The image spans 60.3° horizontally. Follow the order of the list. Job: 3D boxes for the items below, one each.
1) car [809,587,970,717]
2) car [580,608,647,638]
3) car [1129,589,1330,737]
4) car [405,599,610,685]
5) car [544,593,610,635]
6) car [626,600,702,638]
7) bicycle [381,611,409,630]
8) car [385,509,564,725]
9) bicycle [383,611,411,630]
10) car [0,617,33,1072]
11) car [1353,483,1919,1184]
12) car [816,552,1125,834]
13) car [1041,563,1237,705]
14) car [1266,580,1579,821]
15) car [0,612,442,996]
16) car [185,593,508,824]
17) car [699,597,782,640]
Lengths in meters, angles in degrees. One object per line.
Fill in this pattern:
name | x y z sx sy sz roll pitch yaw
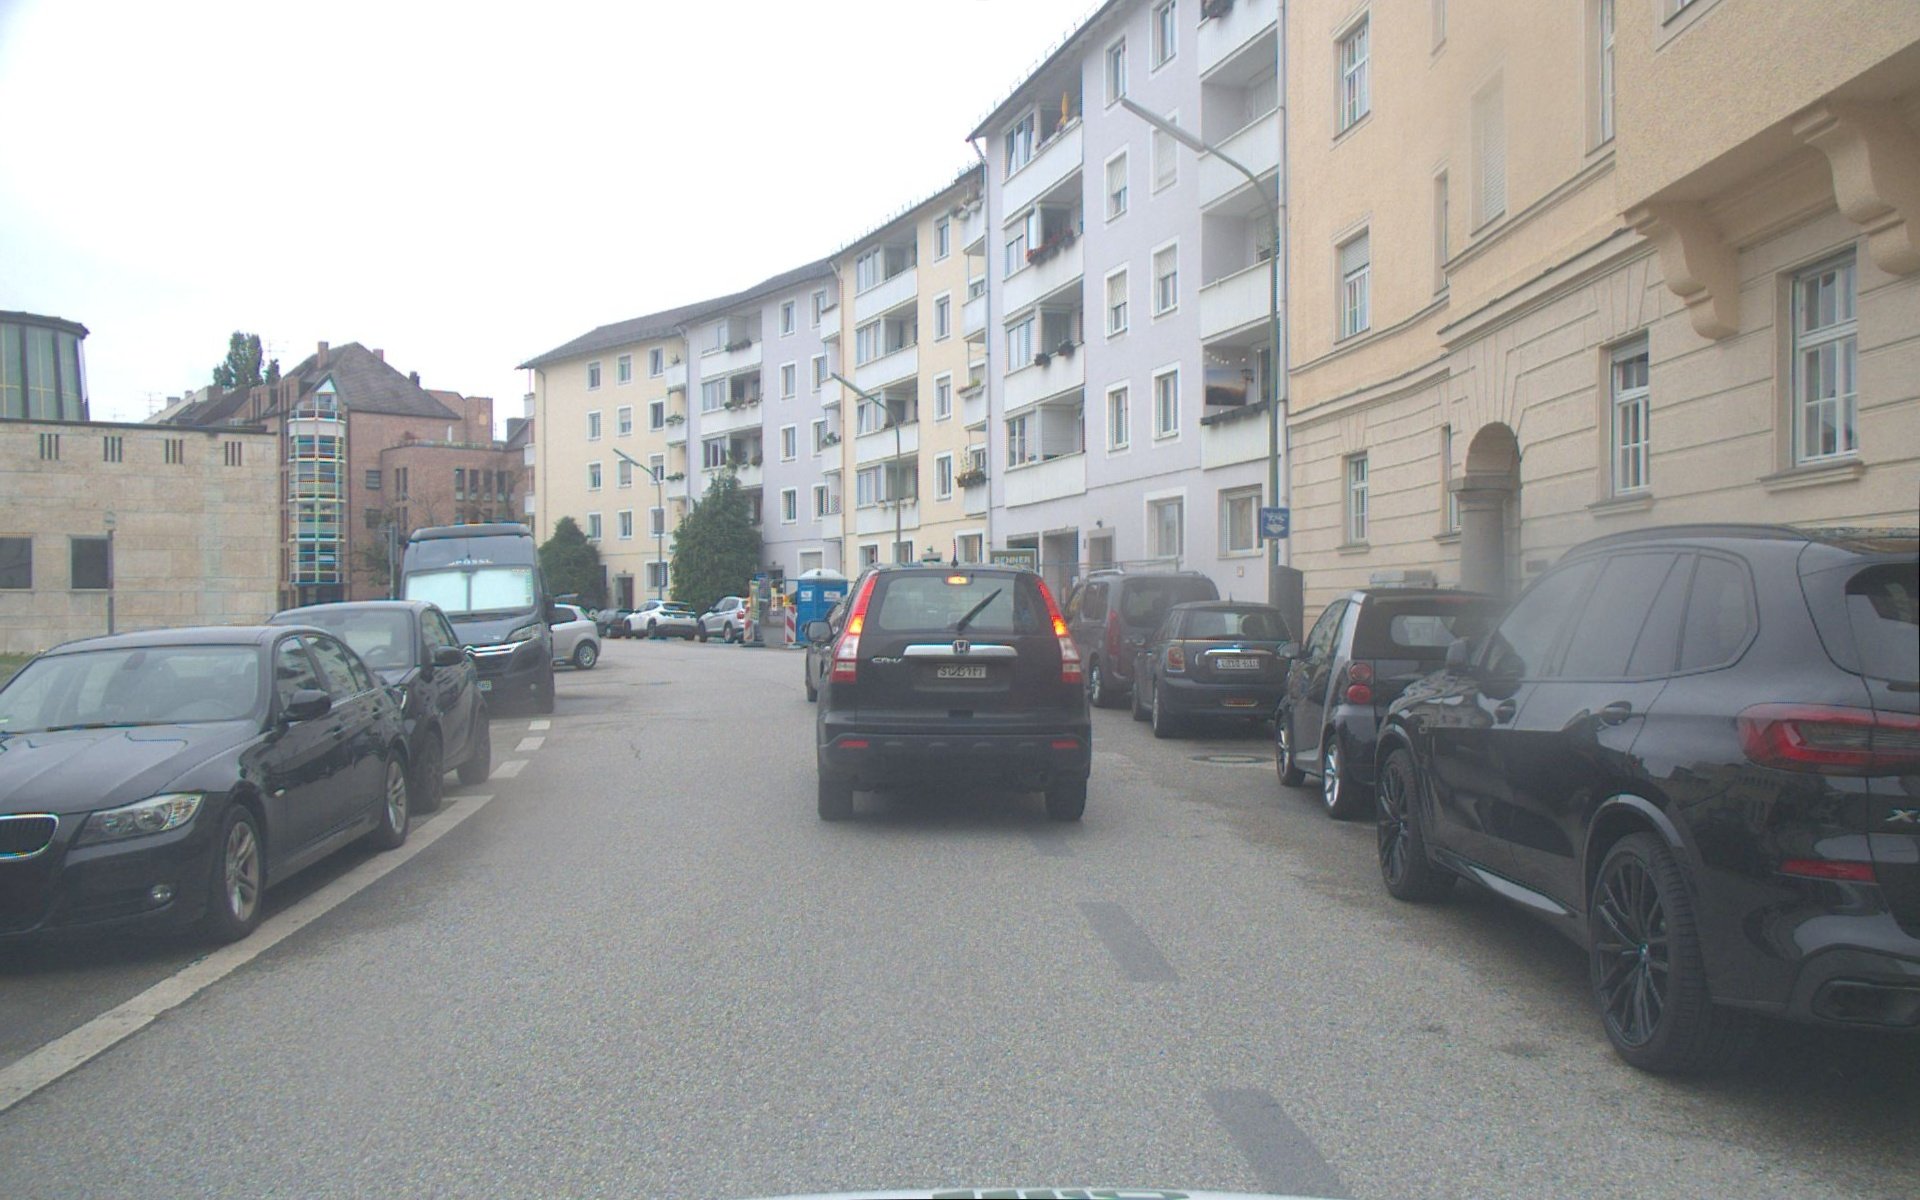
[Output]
car | -1.008 0.612 21.544 1.648 1.507 4.078 0 0 -9
car | -15.297 0.999 72.994 1.683 1.258 3.559 0 0 -34
car | 2.940 0.643 18.746 1.673 1.472 3.830 1 0 1
car | -9.812 0.889 36.095 1.652 1.507 4.068 -5 -1 38
car | -17.791 0.620 76.763 1.709 1.911 3.952 0 0 -34
car | -12.358 0.773 68.865 1.709 1.509 3.952 0 0 -34
bicycle | -38.738 1.410 113.433 1.736 1.311 0.547 0 0 -32
car | -6.919 0.187 24.022 2.128 2.688 5.994 -2 1 -14
bicycle | -38.406 1.382 112.861 1.736 1.311 0.547 0 0 -32
car | -3.873 0.834 3.884 1.624 1.479 3.310 -2 0 -4
car | 3.073 0.598 6.576 1.831 1.747 4.865 1 0 0
car | -0.062 0.557 11.932 1.853 1.676 3.988 0 0 -4
car | 2.451 0.449 23.757 1.745 1.838 4.267 1 0 -9
car | 3.320 0.662 12.405 1.503 1.550 3.111 1 0 1
car | -4.152 0.834 8.643 1.764 1.430 4.451 -2 0 -5
car | -4.651 0.745 12.957 1.638 1.528 2.973 -2 0 -6
car | -8.014 0.655 60.149 1.705 1.509 3.963 0 0 -28
